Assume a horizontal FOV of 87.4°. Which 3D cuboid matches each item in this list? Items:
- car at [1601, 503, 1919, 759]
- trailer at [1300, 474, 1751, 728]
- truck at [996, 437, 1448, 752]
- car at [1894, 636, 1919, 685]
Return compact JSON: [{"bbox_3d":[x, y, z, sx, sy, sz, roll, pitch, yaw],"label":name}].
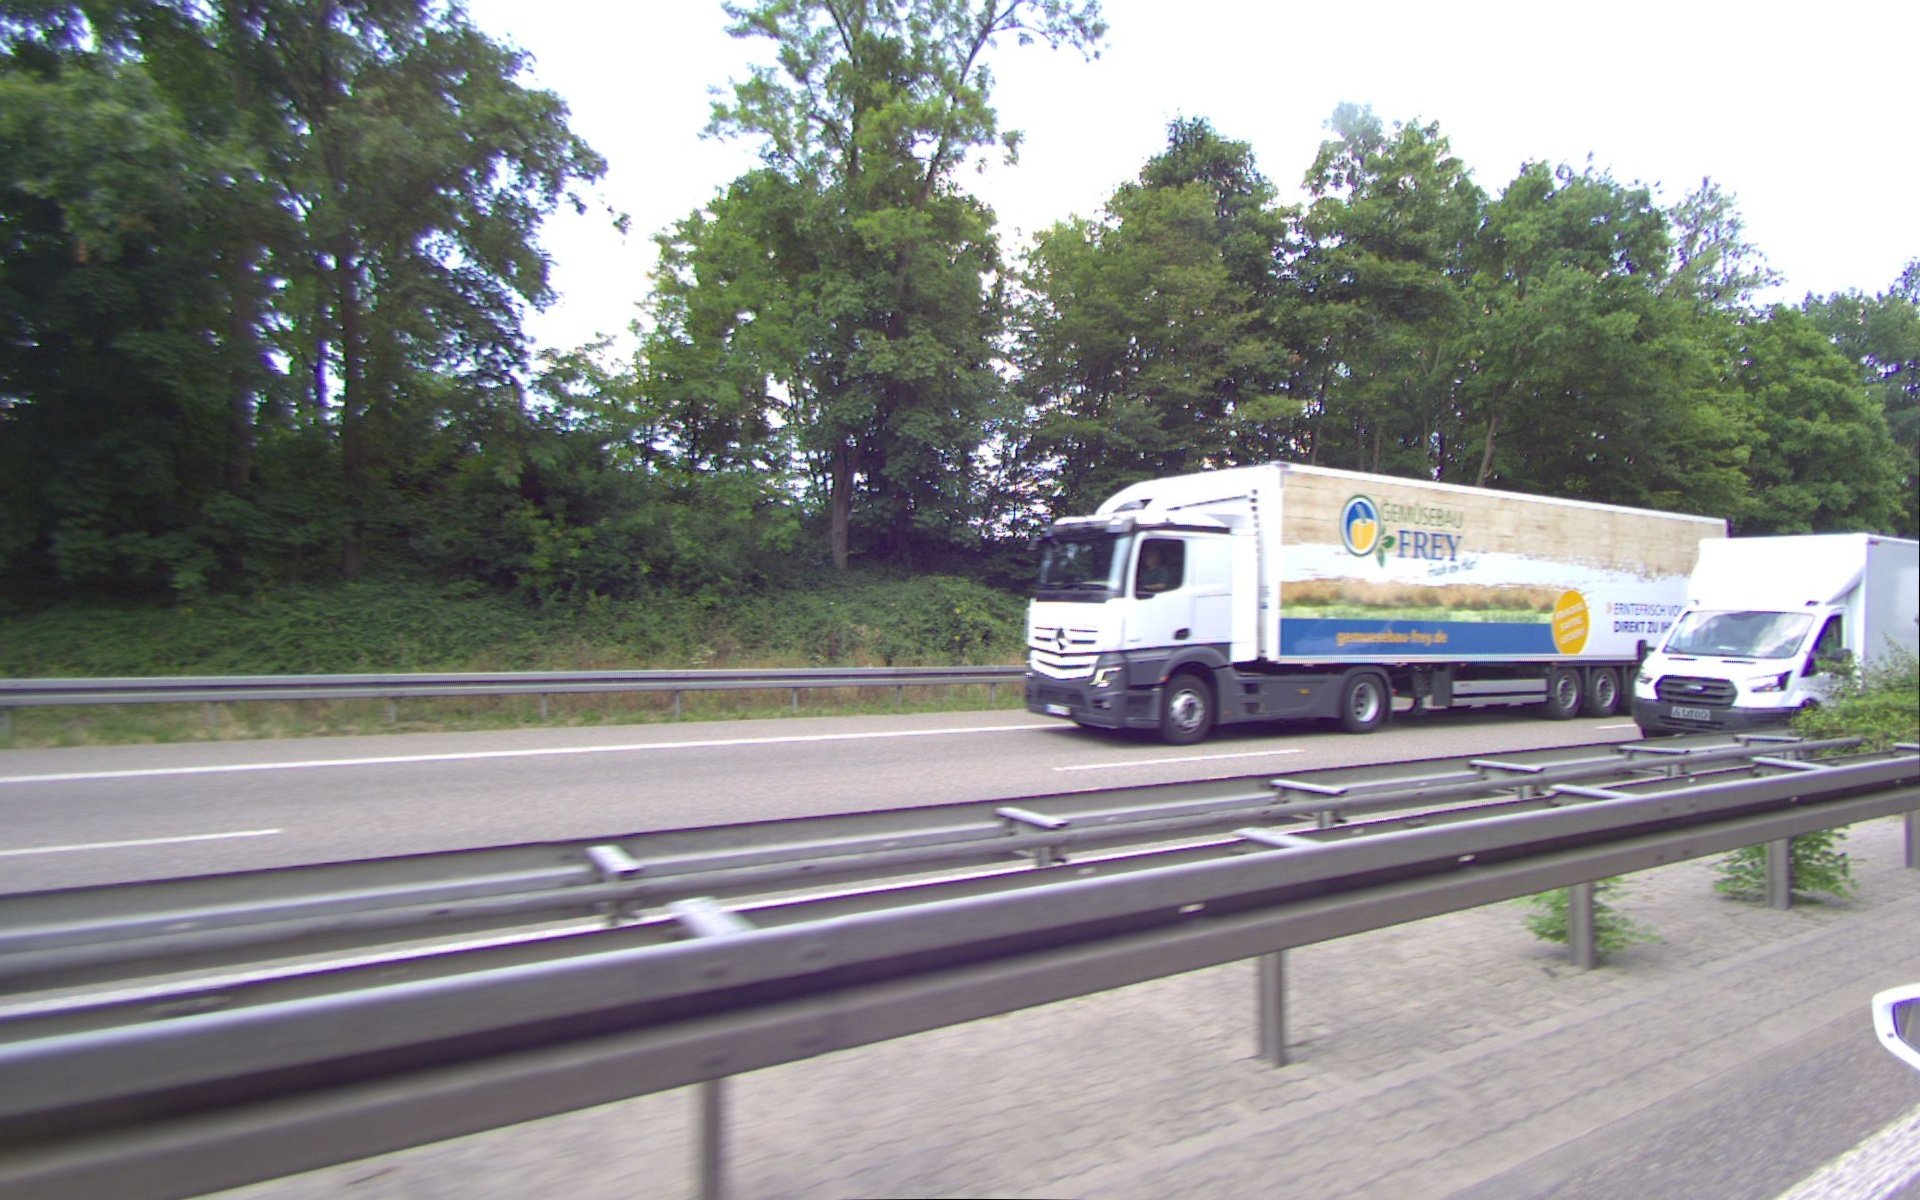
[{"bbox_3d":[13.164,0.488,15.656,7.199,3.275,2.278,1,-1,-30],"label":"car"},{"bbox_3d":[11.457,0.162,19.940,9.852,4.096,3.046,2,-1,-29],"label":"trailer"},{"bbox_3d":[4.203,-0.011,15.832,6.667,4.040,3.026,1,0,-30],"label":"truck"},{"bbox_3d":[31.231,1.877,31.412,4.417,1.492,1.727,1,-1,-30],"label":"car"}]
